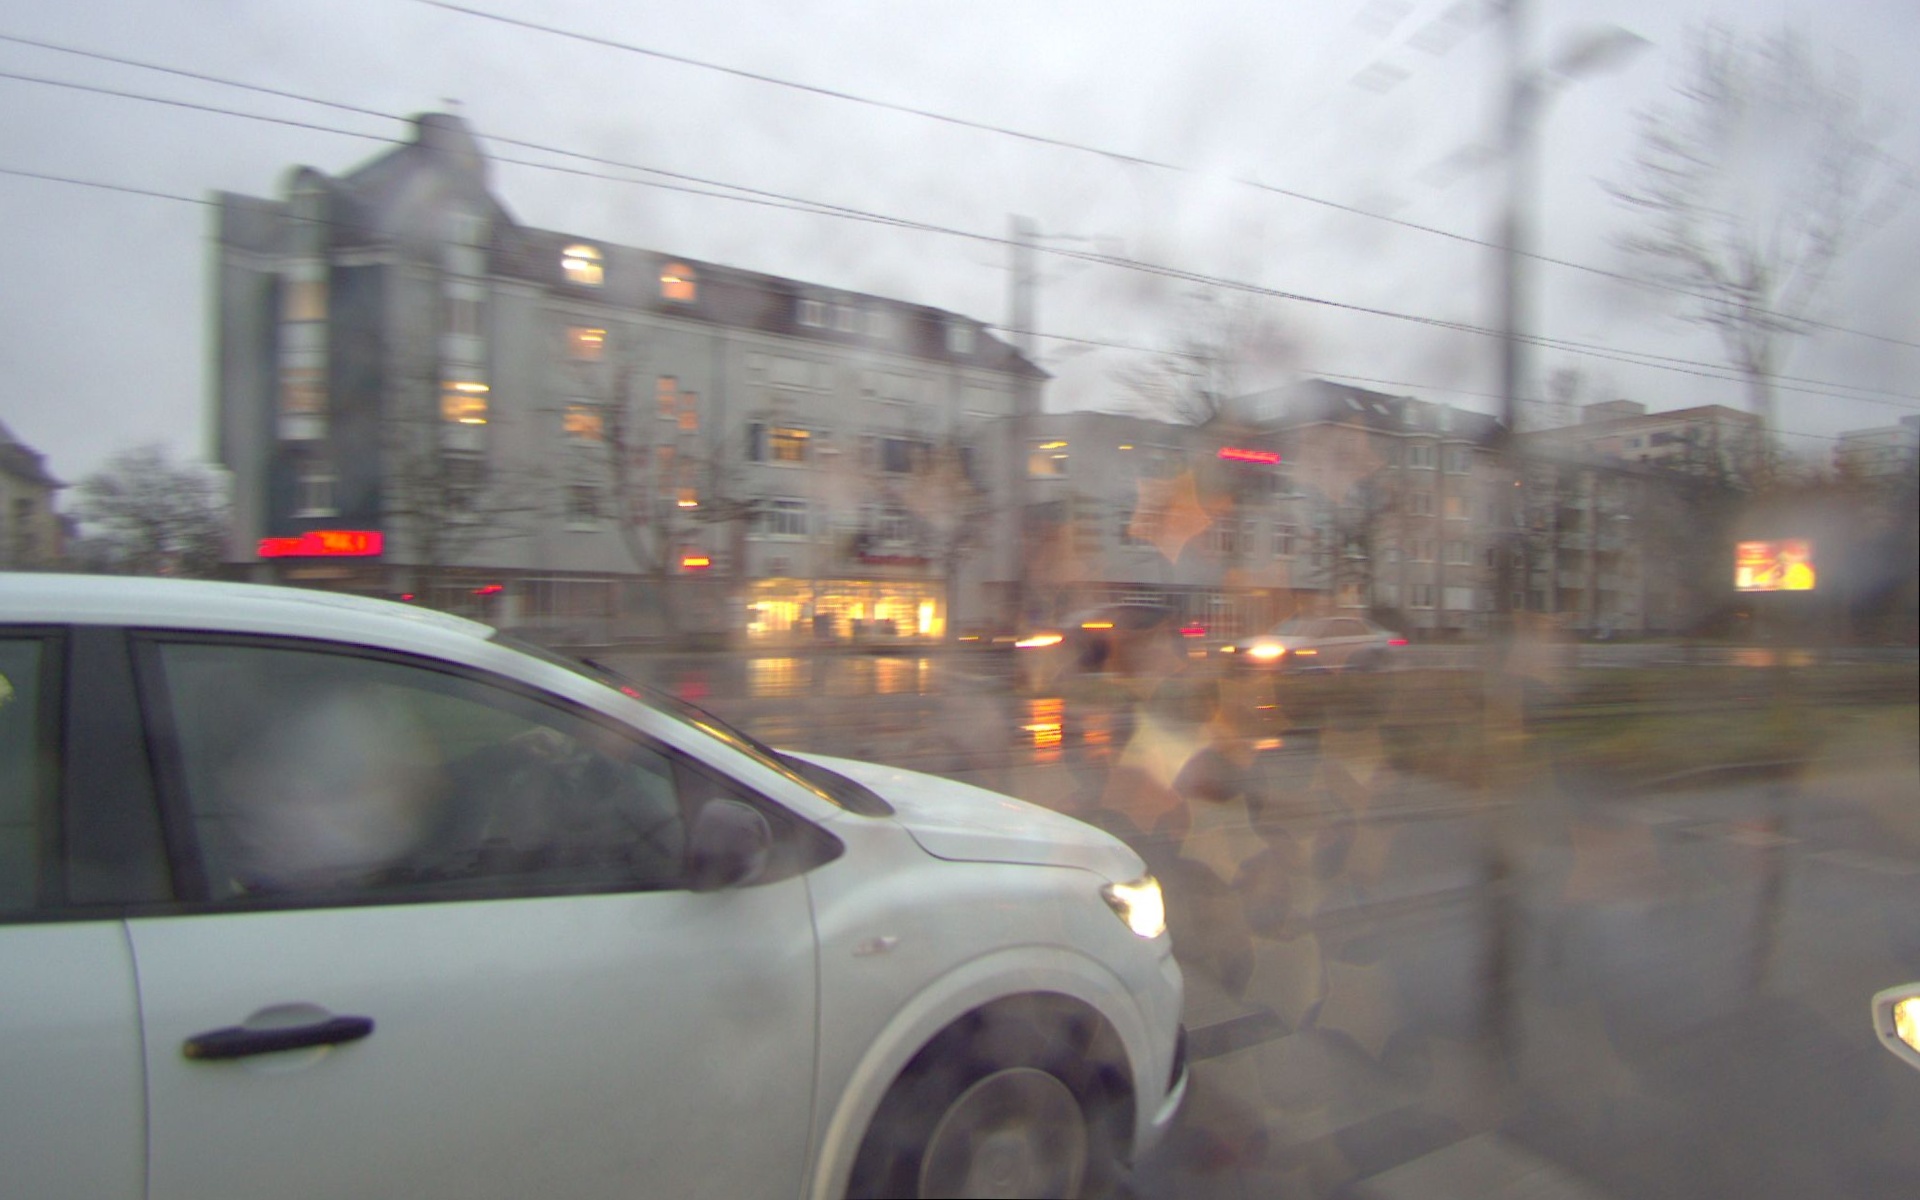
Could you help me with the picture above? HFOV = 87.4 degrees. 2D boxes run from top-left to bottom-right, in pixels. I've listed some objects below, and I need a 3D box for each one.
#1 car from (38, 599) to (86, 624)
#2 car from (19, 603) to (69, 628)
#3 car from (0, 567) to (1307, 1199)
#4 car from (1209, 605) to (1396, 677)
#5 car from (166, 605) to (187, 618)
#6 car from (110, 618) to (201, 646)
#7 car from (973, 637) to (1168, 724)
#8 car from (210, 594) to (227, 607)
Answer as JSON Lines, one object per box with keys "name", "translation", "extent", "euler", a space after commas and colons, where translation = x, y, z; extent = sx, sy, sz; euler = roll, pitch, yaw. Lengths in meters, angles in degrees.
{"name": "car", "translation": [-71.555, 0.920, 80.101], "extent": [1.977, 1.855, 3.833], "euler": [2, 0, -30]}
{"name": "car", "translation": [-57.245, 0.963, 62.796], "extent": [1.471, 1.379, 3.412], "euler": [2, 0, -28]}
{"name": "car", "translation": [-1.302, 0.705, 2.245], "extent": [3.952, 1.485, 1.700], "euler": [2, 0, -29]}
{"name": "car", "translation": [8.354, 1.001, 24.314], "extent": [4.882, 1.549, 1.578], "euler": [2, 0, -33]}
{"name": "car", "translation": [-75.911, 1.113, 97.386], "extent": [1.154, 1.161, 2.450], "euler": [2, 0, -28]}
{"name": "car", "translation": [-42.511, 1.696, 53.165], "extent": [3.577, 1.360, 1.588], "euler": [2, 0, -33]}
{"name": "car", "translation": [2.437, 1.705, 21.828], "extent": [3.958, 1.628, 1.793], "euler": [2, 0, -34]}
{"name": "car", "translation": [-100.584, 0.080, 136.242], "extent": [1.743, 1.621, 3.871], "euler": [2, 0, -35]}
